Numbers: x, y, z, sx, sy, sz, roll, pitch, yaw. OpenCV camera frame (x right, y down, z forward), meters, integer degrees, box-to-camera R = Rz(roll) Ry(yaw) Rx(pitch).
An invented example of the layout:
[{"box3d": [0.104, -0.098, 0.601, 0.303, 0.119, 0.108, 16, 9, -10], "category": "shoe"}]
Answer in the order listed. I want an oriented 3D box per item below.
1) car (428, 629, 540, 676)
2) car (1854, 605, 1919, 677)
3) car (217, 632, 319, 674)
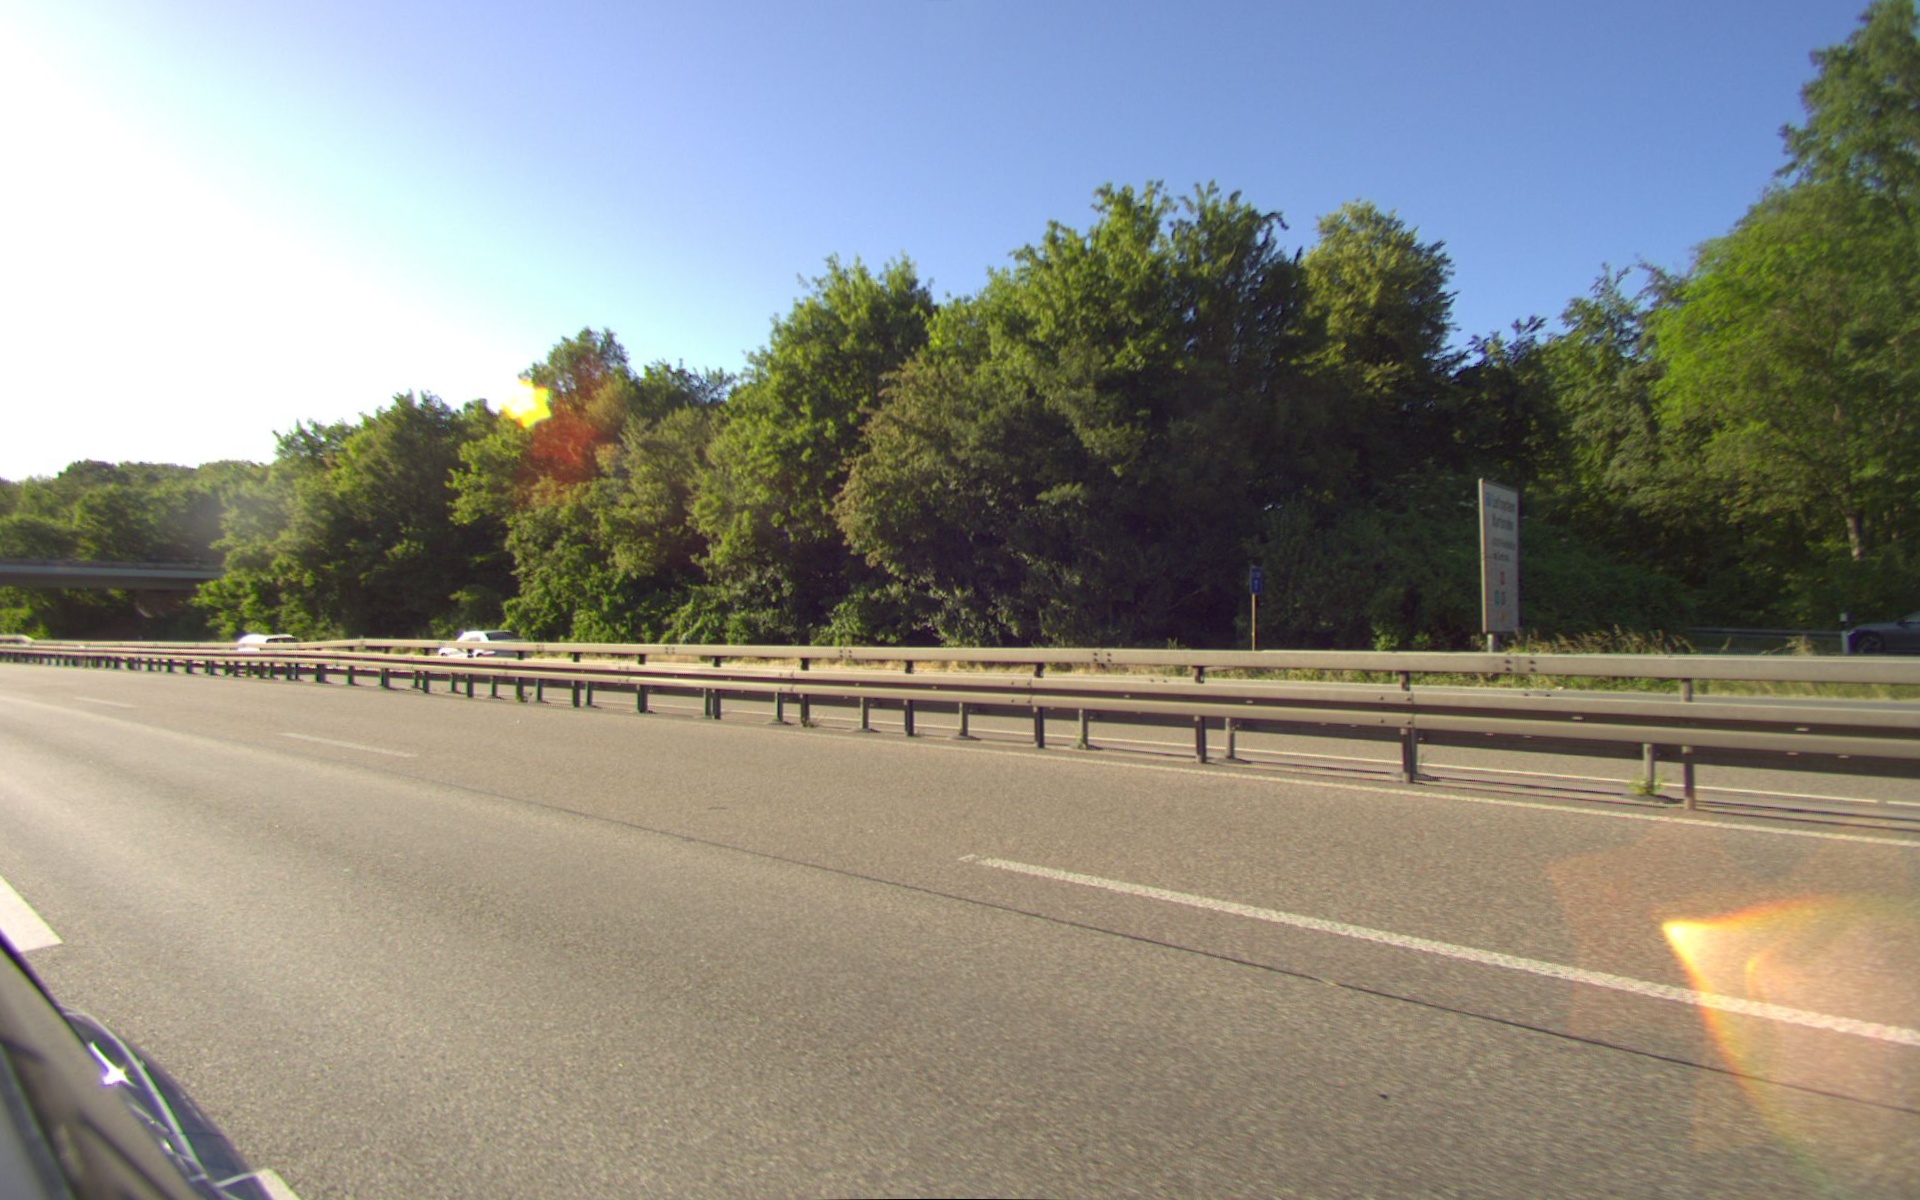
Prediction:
[{"box3d": [-17.864, 1.941, 37.927, 4.415, 1.662, 1.975, -2, -2, 37], "category": "car"}, {"box3d": [26.139, 1.060, 25.768, 1.965, 1.874, 4.680, 0, 0, -20], "category": "car"}, {"box3d": [-27.416, 2.077, 40.067, 4.414, 1.524, 1.976, -2, -1, 36], "category": "car"}]
